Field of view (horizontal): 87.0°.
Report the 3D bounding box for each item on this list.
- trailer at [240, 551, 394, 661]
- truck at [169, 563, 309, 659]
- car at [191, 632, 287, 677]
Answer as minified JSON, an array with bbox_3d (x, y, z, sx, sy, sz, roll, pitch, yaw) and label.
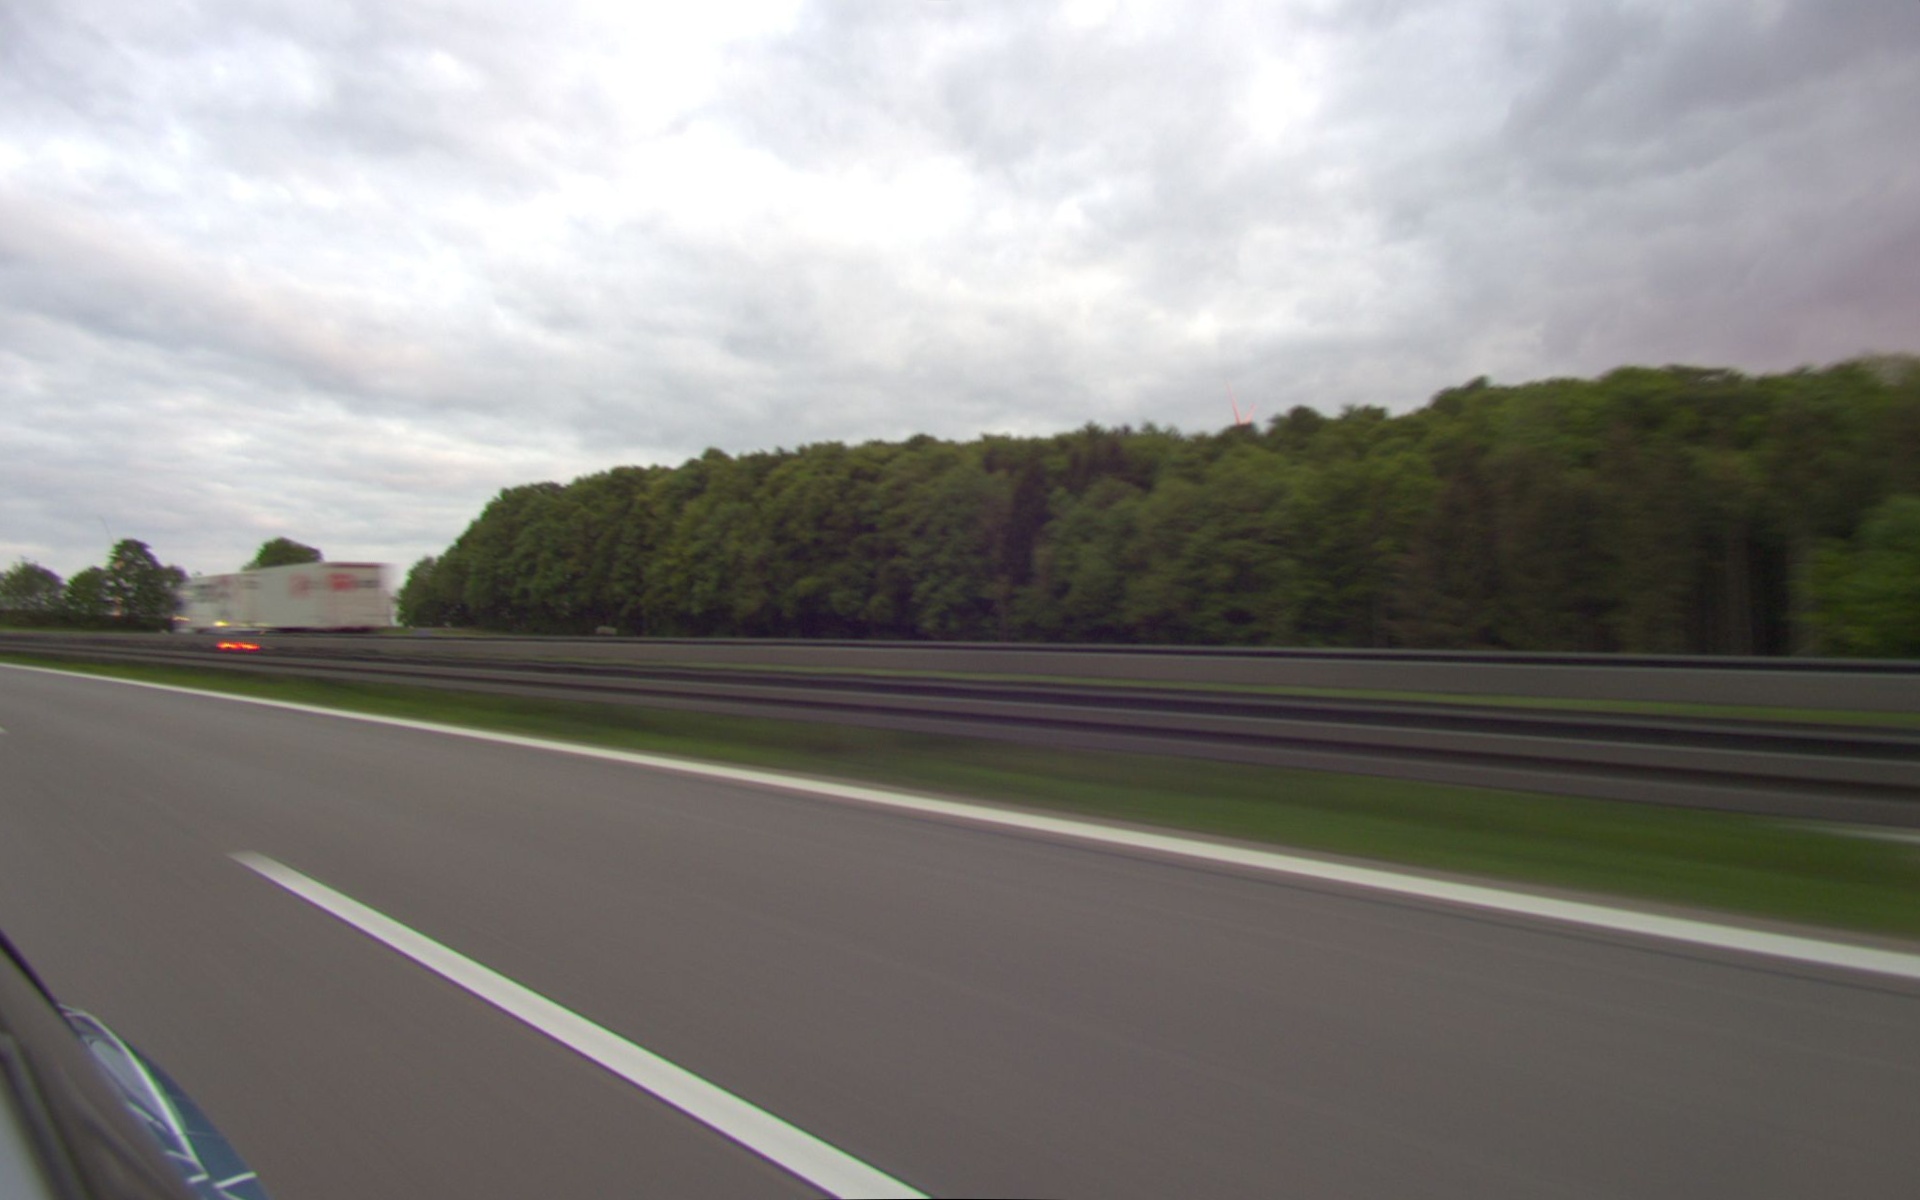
[{"bbox_3d":[-28.094,0.365,44.007,9.281,4.350,2.804,-2,-2,39],"label":"trailer"},{"bbox_3d":[-35.733,0.619,49.960,10.049,4.313,2.838,-2,-2,38],"label":"truck"},{"bbox_3d":[-26.448,1.966,37.079,4.460,1.546,1.638,-1,-4,38],"label":"car"}]
